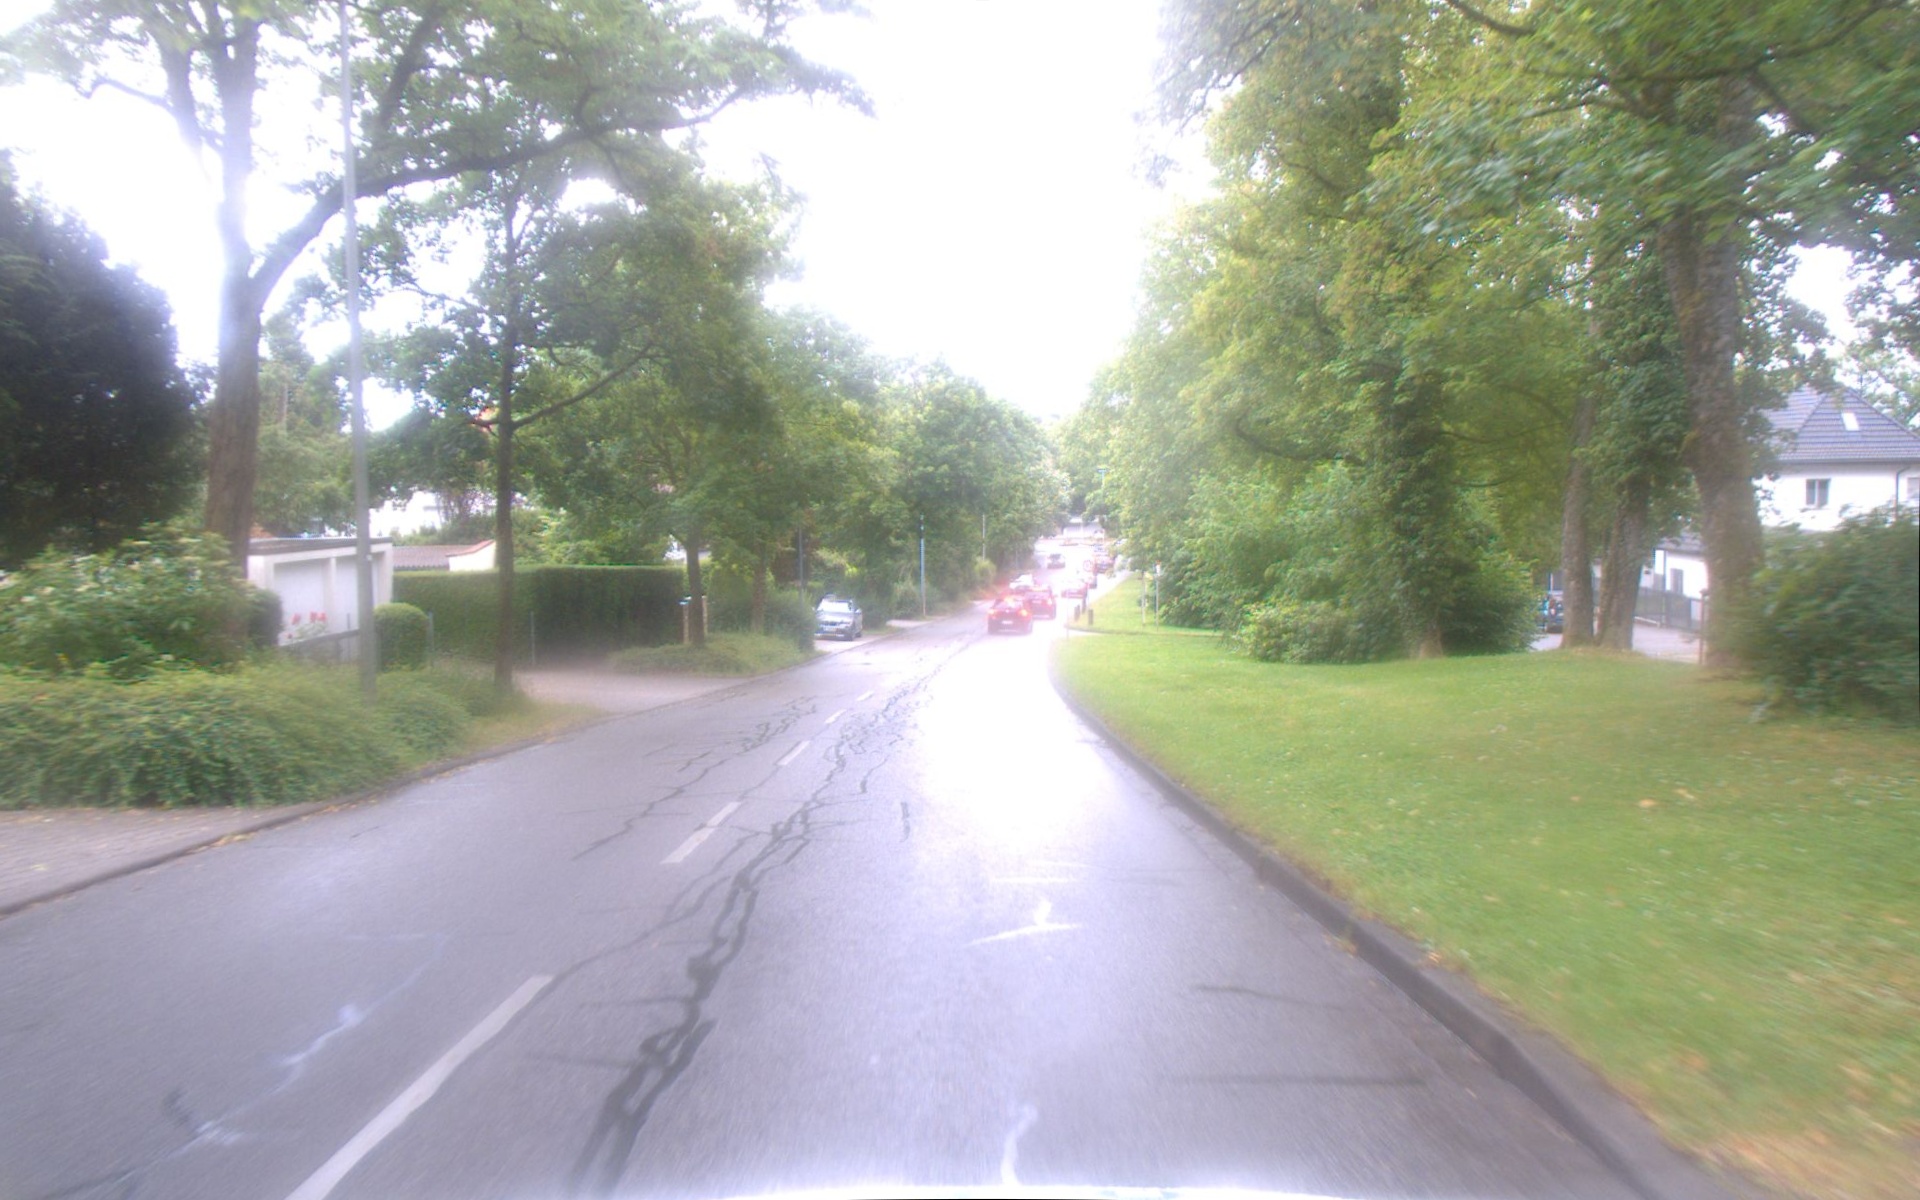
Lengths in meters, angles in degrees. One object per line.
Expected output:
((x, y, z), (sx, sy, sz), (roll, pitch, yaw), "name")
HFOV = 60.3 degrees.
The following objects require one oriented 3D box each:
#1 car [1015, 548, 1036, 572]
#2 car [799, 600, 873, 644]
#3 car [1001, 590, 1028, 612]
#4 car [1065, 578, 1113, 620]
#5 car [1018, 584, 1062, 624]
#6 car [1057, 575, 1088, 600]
((6.437, -3.993, 162.718), (1.952, 2.047, 4.003), (0, 6, 1), "car")
((-4.820, 0.837, 64.752), (1.951, 1.626, 4.013), (0, 0, 10), "car")
((4.161, 0.074, 126.526), (1.952, 1.684, 4.002), (0, 0, 3), "car")
((6.456, -0.062, 82.935), (1.953, 2.049, 3.998), (0, 0, -2), "car")
((4.188, 0.184, 86.993), (1.953, 2.049, 3.998), (0, 0, -2), "car")
((8.134, -0.907, 119.953), (1.819, 1.721, 3.998), (0, 0, -2), "car")
